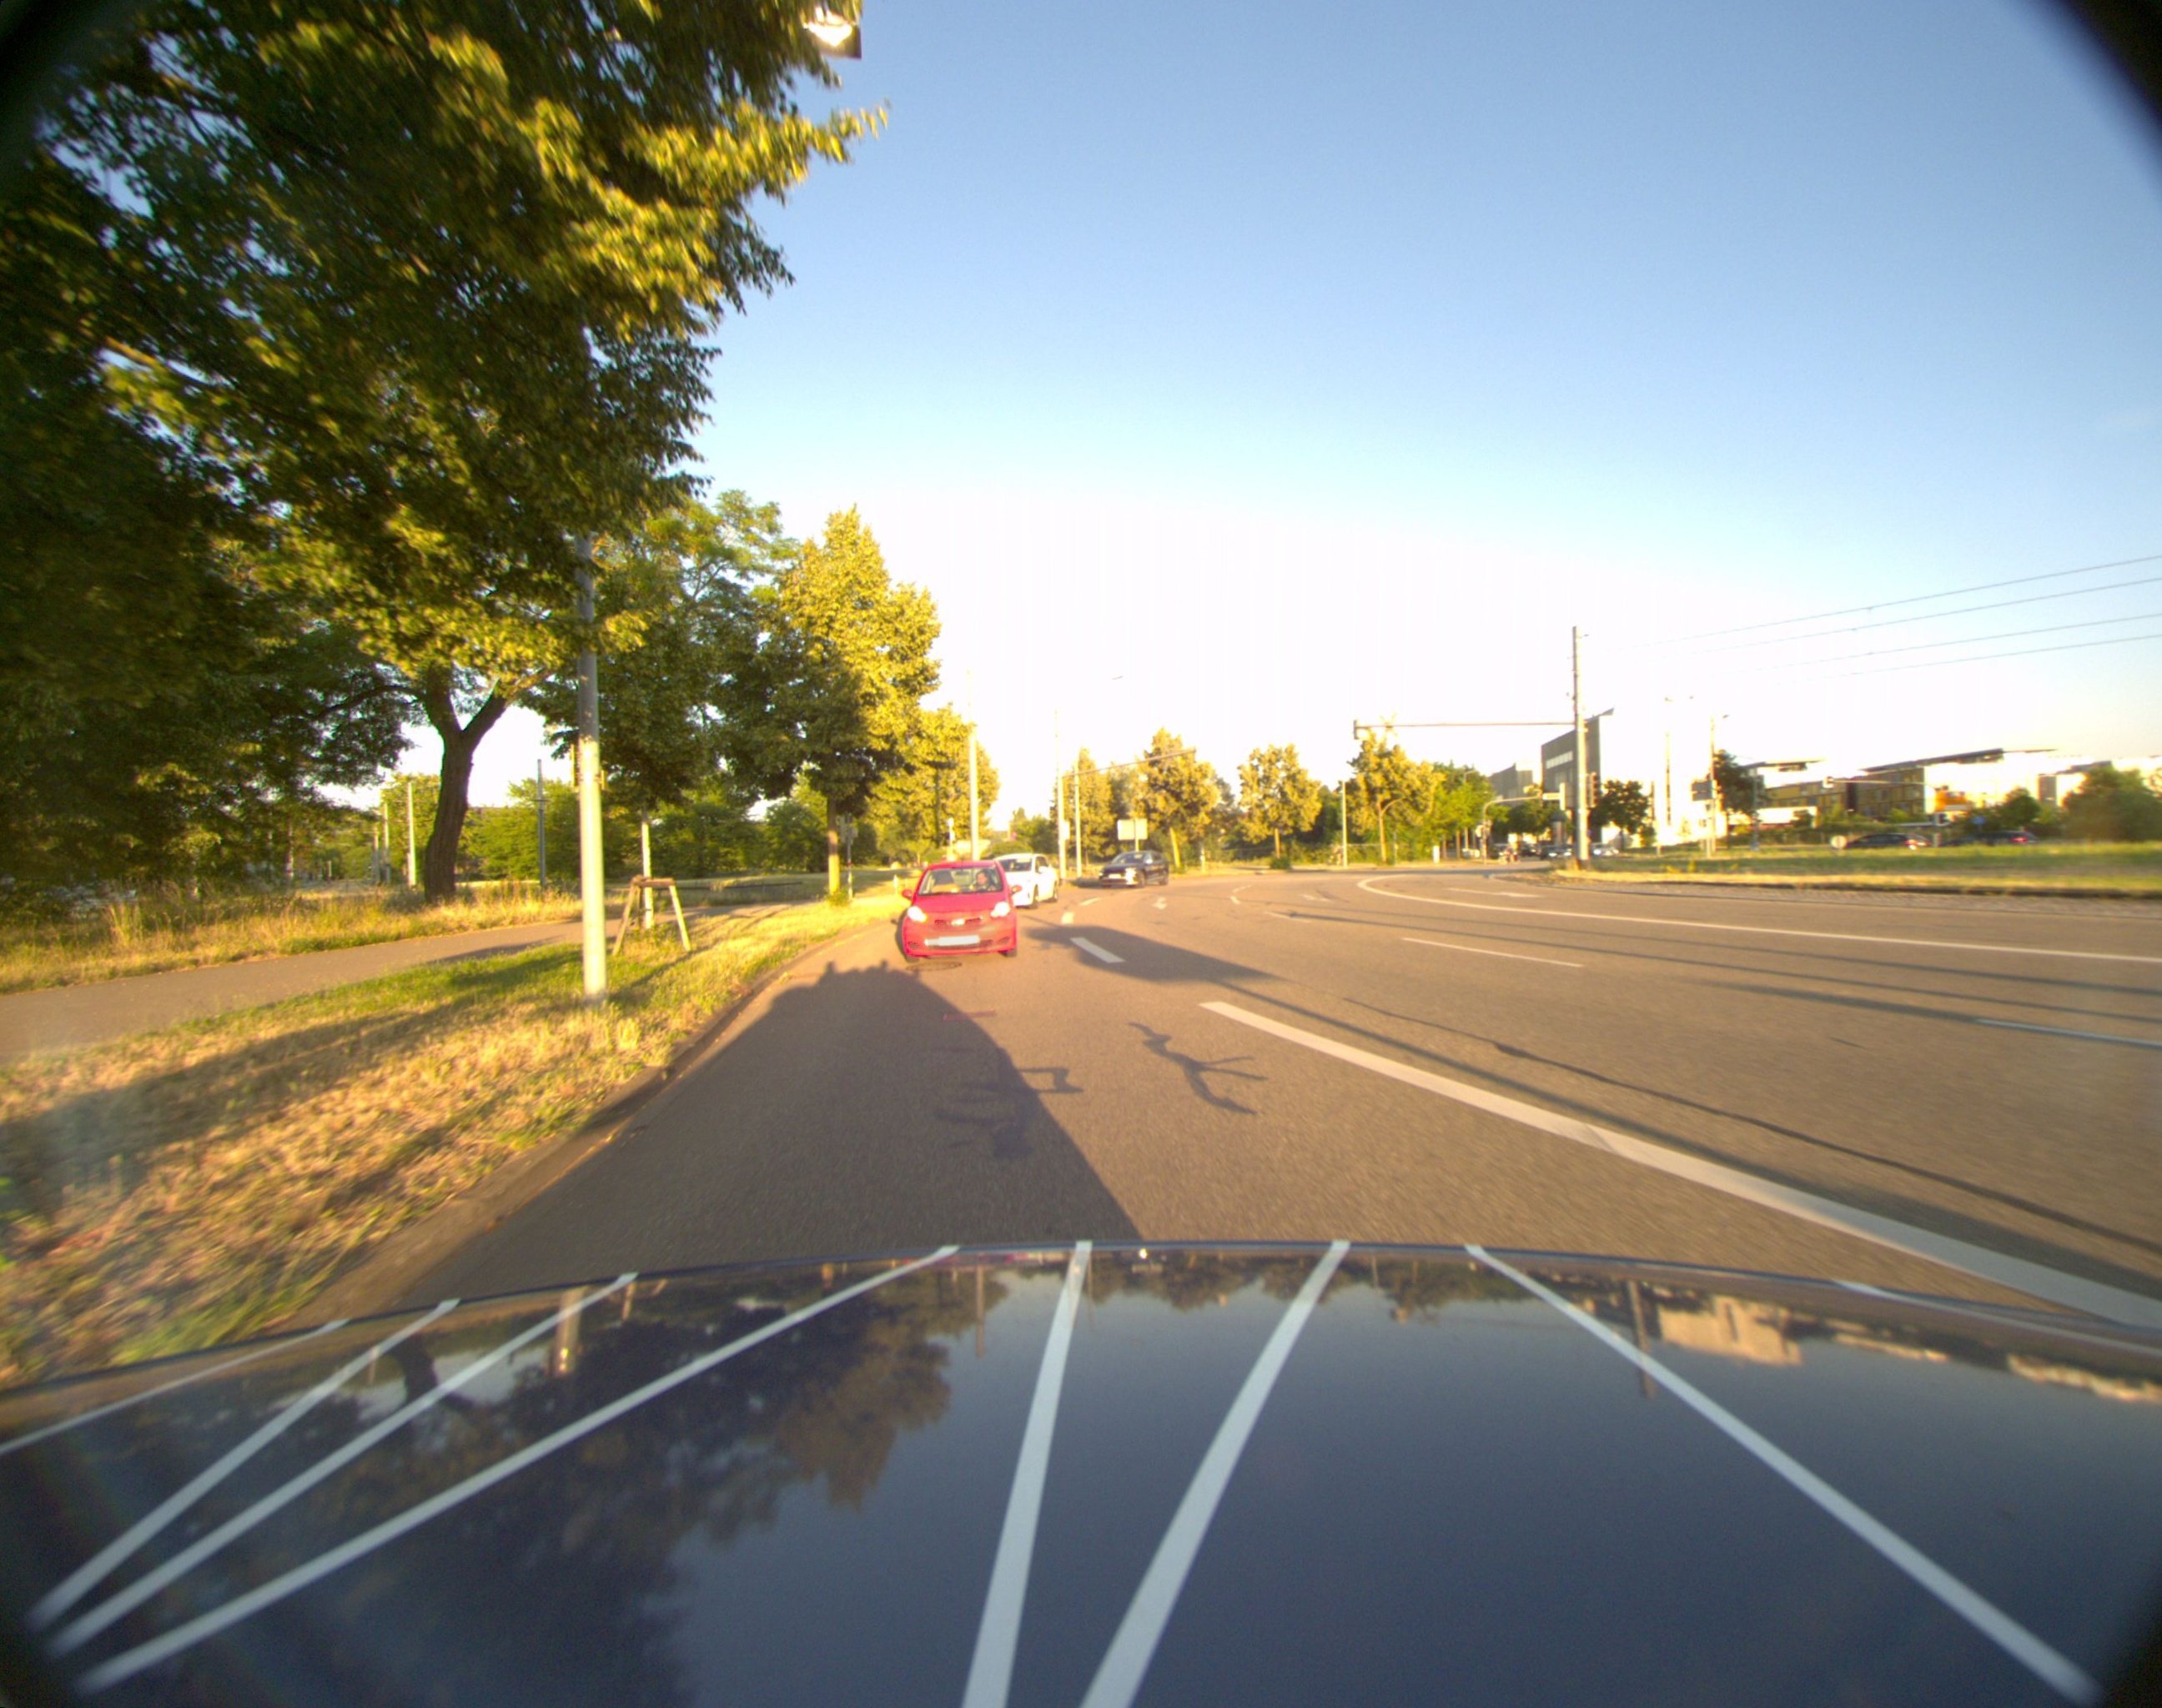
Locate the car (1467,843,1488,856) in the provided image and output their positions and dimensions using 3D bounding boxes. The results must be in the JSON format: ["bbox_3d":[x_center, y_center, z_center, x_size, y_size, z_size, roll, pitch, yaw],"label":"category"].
[{"bbox_3d":[51.520,-0.642,98.837,1.869,1.616,4.198,-2,1,20],"label":"car"}]

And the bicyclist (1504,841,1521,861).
[{"bbox_3d":[36.069,-0.280,63.532,0.999,1.623,0.811,-2,1,4],"label":"bicyclist"}]

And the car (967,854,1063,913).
[{"bbox_3d":[-1.831,0.792,22.505,1.757,1.549,4.218,-1,0,10],"label":"car"}]

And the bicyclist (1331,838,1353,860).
[{"bbox_3d":[21.508,-0.435,62.703,1.415,1.739,1.124,-2,1,4],"label":"bicyclist"}]

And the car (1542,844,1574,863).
[{"bbox_3d":[44.661,-0.092,71.210,1.869,1.616,4.199,-2,1,23],"label":"car"}]

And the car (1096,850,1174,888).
[{"bbox_3d":[2.449,0.612,33.666,1.823,1.549,4.222,-1,0,28],"label":"car"}]

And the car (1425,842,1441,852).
[{"bbox_3d":[60.865,-1.211,131.459,1.870,1.616,4.197,-2,1,15],"label":"car"}]

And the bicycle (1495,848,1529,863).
[{"bbox_3d":[36.025,0.115,63.555,2.326,1.172,0.811,-2,1,4],"label":"bicycle"}]

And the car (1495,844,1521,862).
[{"bbox_3d":[43.692,-0.114,77.862,1.869,1.740,3.858,-2,1,23],"label":"car"}]

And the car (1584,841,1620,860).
[{"bbox_3d":[46.701,-0.338,68.212,1.869,1.616,4.199,-2,1,23],"label":"car"}]

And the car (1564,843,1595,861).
[{"bbox_3d":[49.783,-0.206,75.964,1.869,1.616,4.199,-2,1,23],"label":"car"}]

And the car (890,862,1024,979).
[{"bbox_3d":[-1.823,0.914,12.378,1.694,1.413,4.209,-3,1,-4],"label":"car"}]

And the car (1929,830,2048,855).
[{"bbox_3d":[56.909,-0.714,47.773,1.945,1.424,4.398,-1,0,-13],"label":"car"}]

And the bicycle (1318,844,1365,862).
[{"bbox_3d":[21.483,-0.092,62.735,3.535,1.387,1.124,-2,1,4],"label":"bicycle"}]

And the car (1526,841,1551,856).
[{"bbox_3d":[54.165,-0.647,90.041,1.869,1.616,4.199,-2,1,22],"label":"car"}]

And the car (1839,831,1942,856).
[{"bbox_3d":[52.355,-0.630,49.284,1.842,1.492,4.251,-2,0,-10],"label":"car"}]
